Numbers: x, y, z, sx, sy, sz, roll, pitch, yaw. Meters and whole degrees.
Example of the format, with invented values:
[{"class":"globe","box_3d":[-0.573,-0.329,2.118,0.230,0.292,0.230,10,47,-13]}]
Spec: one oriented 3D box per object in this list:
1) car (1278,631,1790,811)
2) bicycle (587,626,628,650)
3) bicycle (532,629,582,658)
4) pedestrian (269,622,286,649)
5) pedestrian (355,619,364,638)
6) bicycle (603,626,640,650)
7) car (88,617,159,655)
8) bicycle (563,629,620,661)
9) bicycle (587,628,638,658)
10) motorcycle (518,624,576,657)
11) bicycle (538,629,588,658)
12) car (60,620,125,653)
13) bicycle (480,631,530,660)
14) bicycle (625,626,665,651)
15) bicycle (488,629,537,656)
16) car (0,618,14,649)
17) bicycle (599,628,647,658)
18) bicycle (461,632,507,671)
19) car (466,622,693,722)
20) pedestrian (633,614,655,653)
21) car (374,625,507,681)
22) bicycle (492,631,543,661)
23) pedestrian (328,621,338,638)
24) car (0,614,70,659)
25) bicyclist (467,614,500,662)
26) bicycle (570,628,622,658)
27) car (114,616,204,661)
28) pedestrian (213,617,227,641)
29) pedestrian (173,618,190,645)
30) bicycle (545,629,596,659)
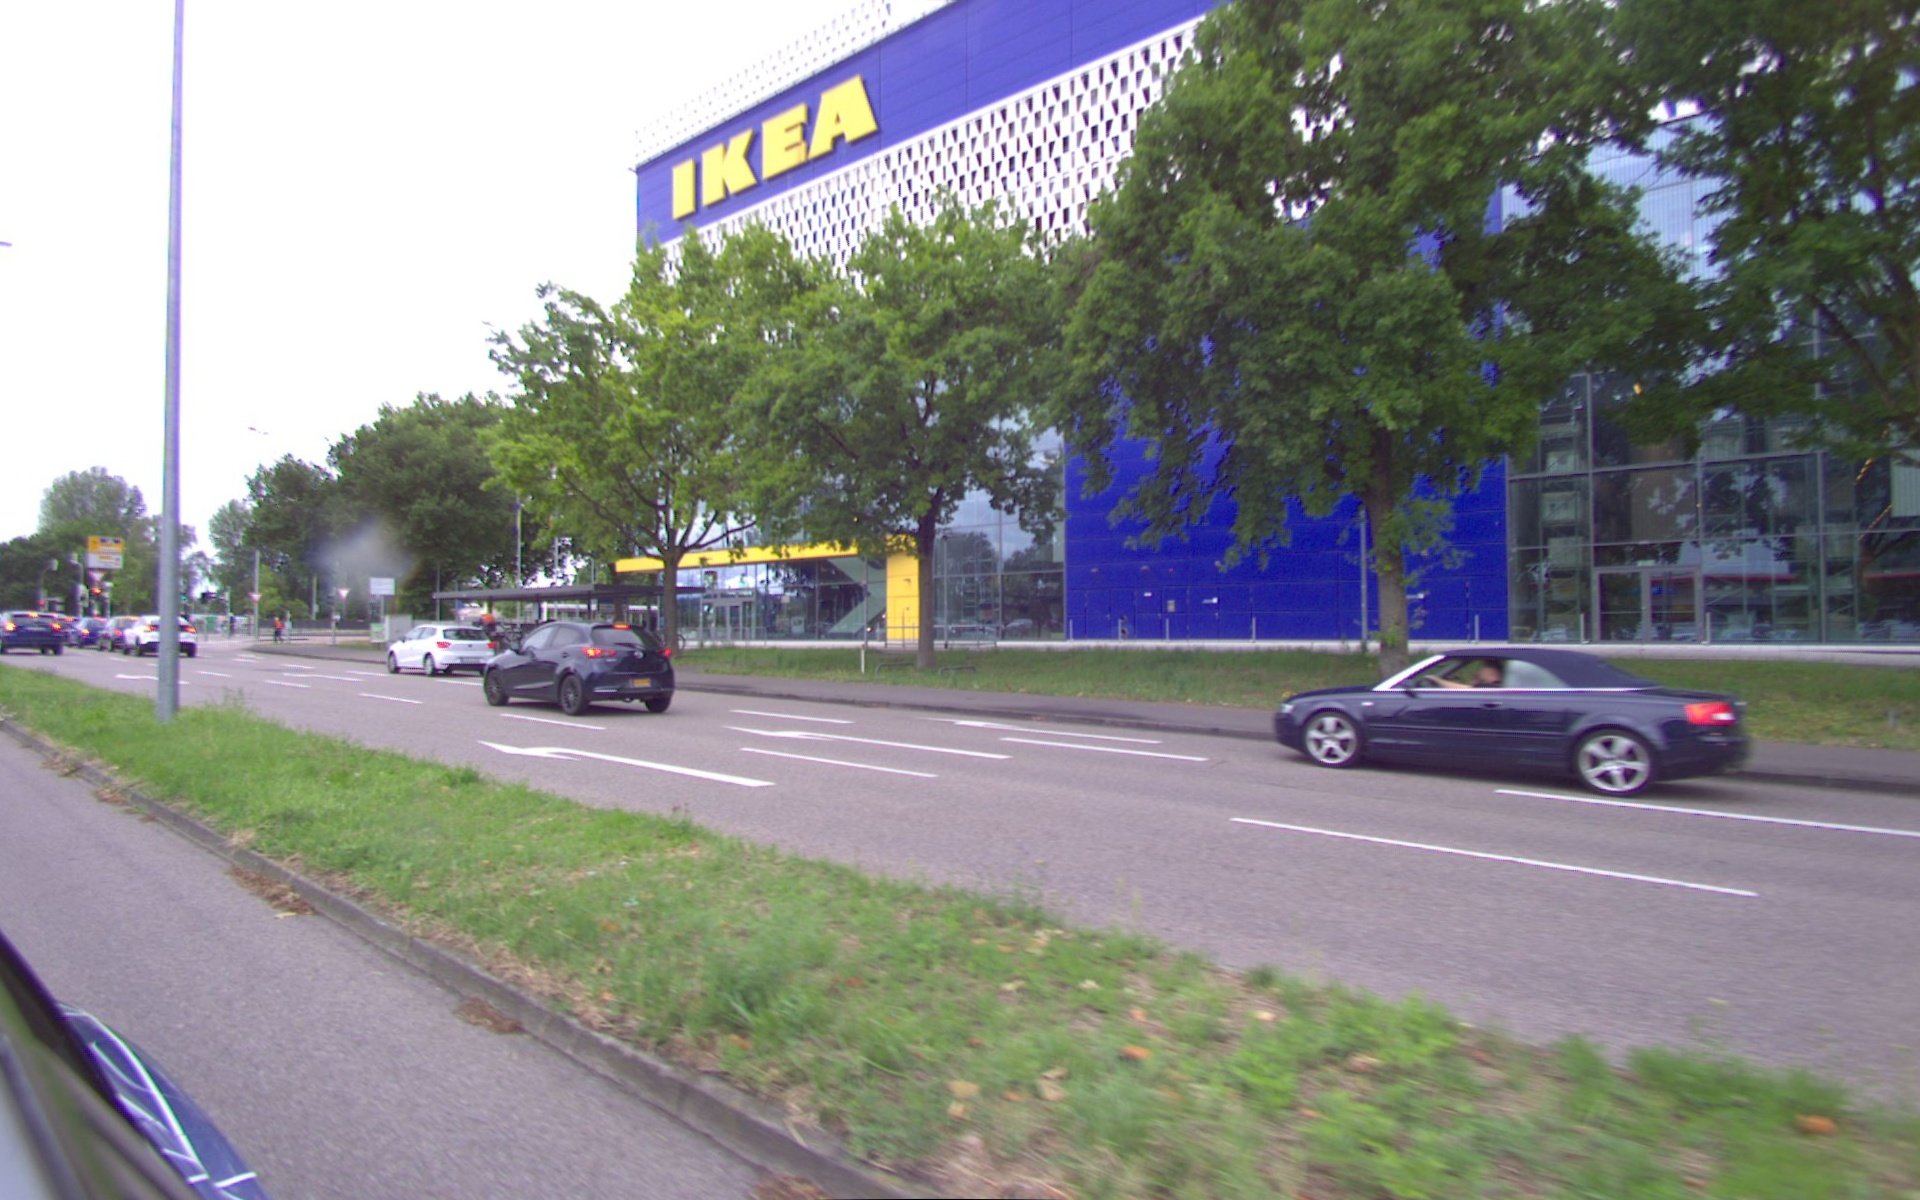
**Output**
[{"class":"car","box_3d":[5.803,1.098,10.600,4.403,1.463,1.753,-1,-3,42]},{"class":"bicycle","box_3d":[-18.625,1.989,53.505,0.593,1.165,1.996,-1,0,39]},{"class":"bicycle","box_3d":[-17.841,1.906,44.797,0.593,1.165,1.995,-1,0,41]},{"class":"pedestrian","box_3d":[-43.180,2.253,64.055,0.808,1.655,0.627,2,0,39]},{"class":"pedestrian","box_3d":[-56.925,2.736,95.893,0.788,1.755,0.578,-4,-4,43]},{"class":"bicycle","box_3d":[-17.538,1.955,52.477,0.591,1.165,2.003,-1,0,28]},{"class":"car","box_3d":[-35.487,1.519,42.887,4.035,1.509,1.586,0,-3,41]},{"class":"bicycle","box_3d":[-14.436,1.757,39.680,1.989,1.165,0.595,-1,0,-35]},{"class":"bicycle","box_3d":[-14.446,1.779,42.097,0.593,1.165,1.995,-1,0,41]},{"class":"motorcycle","box_3d":[-18.646,1.818,45.707,0.796,1.365,2.476,-1,0,28]},{"class":"bicycle","box_3d":[-17.354,1.893,44.278,0.593,1.165,1.995,-1,0,41]},{"class":"car","box_3d":[-40.157,1.668,46.820,4.141,1.455,1.586,-1,-4,41]},{"class":"bicycle","box_3d":[-19.556,1.932,43.528,0.593,1.165,1.874,-1,0,41]},{"class":"bicycle","box_3d":[-15.923,1.928,51.198,0.592,1.165,1.998,-1,0,34]},{"class":"bicycle","box_3d":[-20.831,1.984,47.117,1.988,1.165,0.595,-1,0,-33]},{"class":"car","box_3d":[-46.412,1.540,47.833,4.427,1.447,1.864,0,-3,39]},{"class":"bicycle","box_3d":[-13.627,1.725,40.993,0.593,1.090,1.791,-1,0,41]},{"class":"bicycle","box_3d":[-16.137,1.739,34.288,2.055,1.260,0.636,-2,-1,41]},{"class":"car","box_3d":[-6.377,1.119,16.789,3.996,1.464,1.740,-1,-3,40]},{"class":"pedestrian","box_3d":[-14.737,1.555,47.196,0.808,1.759,0.670,-2,-2,41]},{"class":"car","box_3d":[-14.938,1.500,29.027,4.164,1.465,1.847,-1,-4,39]},{"class":"bicycle","box_3d":[-18.723,1.920,42.840,0.593,1.165,1.874,-1,0,41]},{"class":"pedestrian","box_3d":[-58.305,2.728,94.042,0.711,1.572,0.623,-4,-4,42]},{"class":"car","box_3d":[-34.132,1.316,36.869,4.436,1.497,1.911,0,-3,41]},{"class":"bicyclist","box_3d":[-16.145,1.281,34.266,0.999,1.589,0.634,-2,-1,41]},{"class":"bicycle","box_3d":[-15.433,1.828,42.942,0.593,1.165,1.995,-1,0,41]},{"class":"car","box_3d":[-30.528,1.428,38.521,4.180,1.530,1.911,1,-1,41]},{"class":"pedestrian","box_3d":[-54.612,2.147,74.663,0.766,1.725,0.666,-1,-2,45]},{"class":"pedestrian","box_3d":[-53.964,2.170,70.112,0.686,1.778,0.656,3,-2,38]},{"class":"bicycle","box_3d":[-16.630,1.855,43.244,0.593,1.165,1.995,-1,0,41]}]
